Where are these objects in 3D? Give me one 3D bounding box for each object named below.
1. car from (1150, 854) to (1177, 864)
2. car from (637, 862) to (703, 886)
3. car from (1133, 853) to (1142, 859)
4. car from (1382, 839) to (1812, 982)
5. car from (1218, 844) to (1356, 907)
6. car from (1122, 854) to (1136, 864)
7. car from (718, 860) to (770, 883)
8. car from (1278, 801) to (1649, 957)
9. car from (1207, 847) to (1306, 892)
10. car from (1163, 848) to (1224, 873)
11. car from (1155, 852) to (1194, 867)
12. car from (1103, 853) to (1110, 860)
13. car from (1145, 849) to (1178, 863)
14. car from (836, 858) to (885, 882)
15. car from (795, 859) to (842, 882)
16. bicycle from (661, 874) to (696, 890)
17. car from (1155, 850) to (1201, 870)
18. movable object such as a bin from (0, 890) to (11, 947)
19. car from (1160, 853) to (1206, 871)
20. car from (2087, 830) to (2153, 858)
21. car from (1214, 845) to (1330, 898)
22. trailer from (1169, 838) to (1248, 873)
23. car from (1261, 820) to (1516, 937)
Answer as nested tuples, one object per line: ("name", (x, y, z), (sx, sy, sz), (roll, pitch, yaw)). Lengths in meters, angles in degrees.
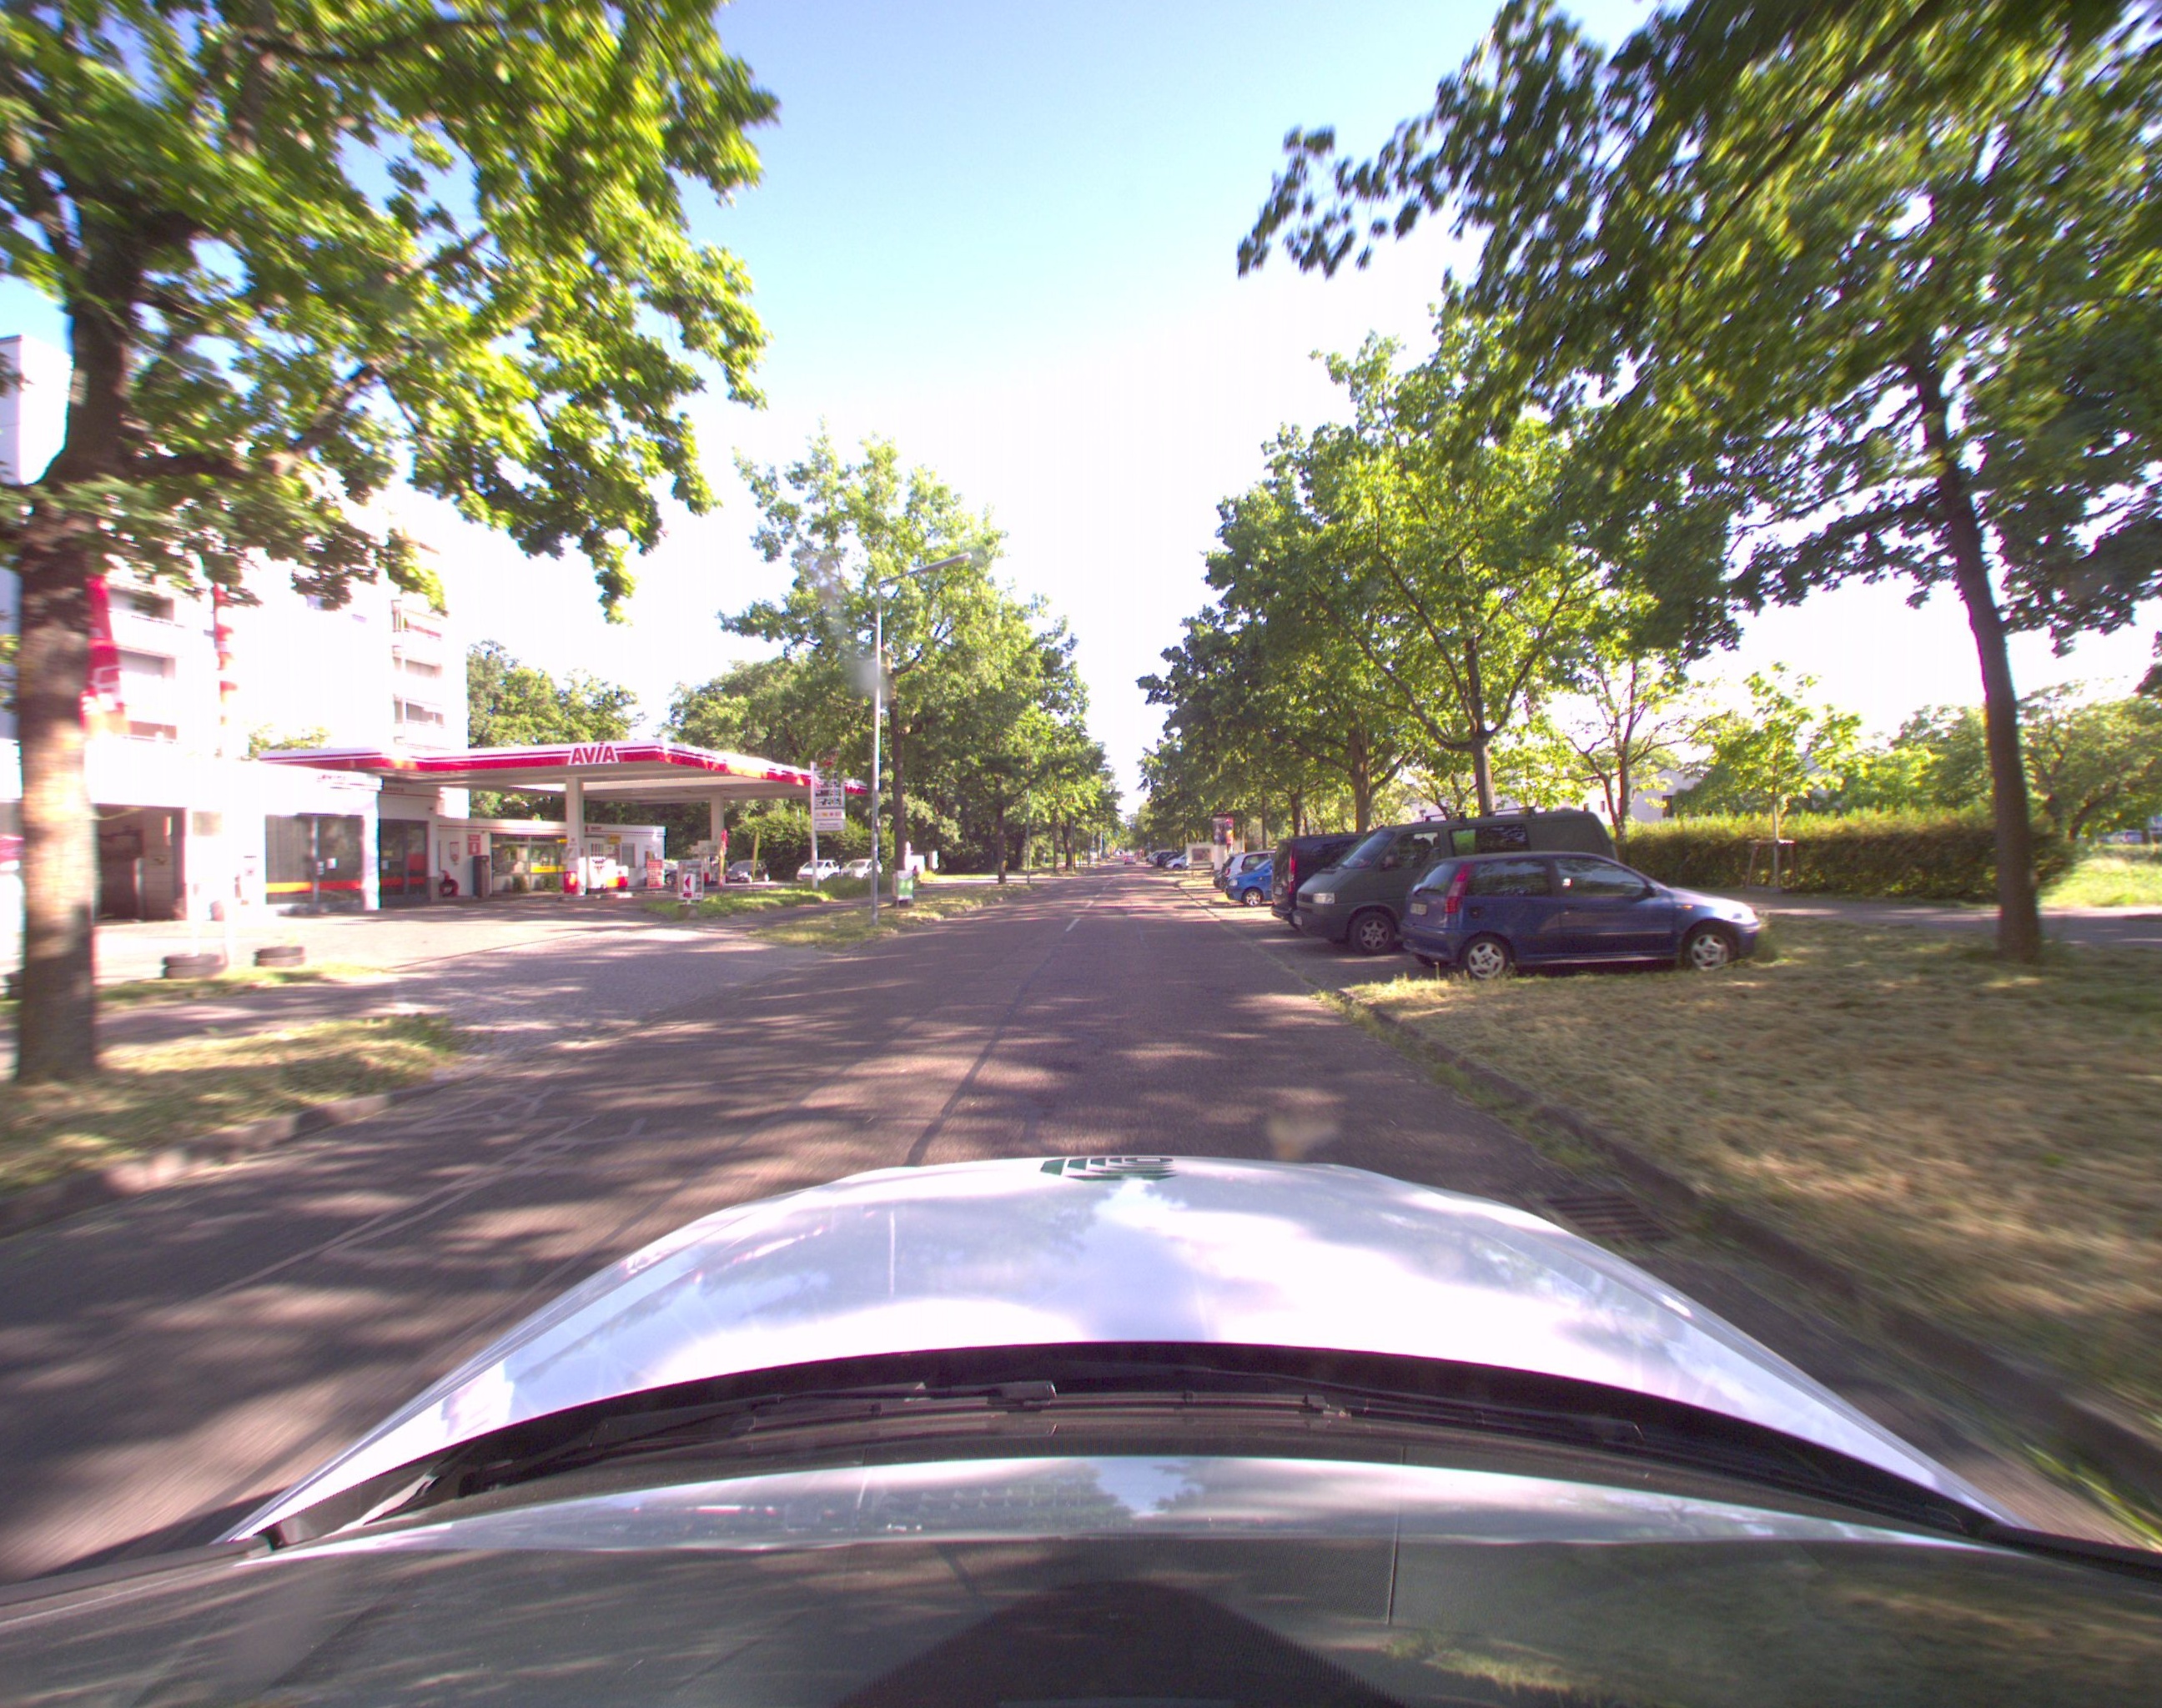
("car", (12.583, 0.713, 124.203), (3.968, 1.433, 1.903), (-2, 0, 5))
("car", (-24.820, 1.207, 49.210), (3.174, 1.400, 1.590), (0, 0, 11))
("car", (14.465, 0.499, 208.834), (1.985, 1.716, 4.003), (-1, 0, 3))
("car", (5.907, 0.623, 9.723), (3.972, 1.403, 1.741), (-2, 0, 2))
("car", (5.762, 0.589, 23.097), (3.504, 1.532, 1.667), (-3, -1, 5))
("car", (7.229, 0.785, 123.576), (1.986, 1.484, 4.002), (-1, 0, 2))
("car", (-21.145, 1.053, 51.218), (1.413, 1.367, 3.215), (0, 0, 11))
("car", (5.682, 0.363, 12.631), (4.783, 2.032, 1.945), (-2, 0, 2))
("car", (6.971, 0.605, 32.664), (3.569, 1.576, 1.858), (-3, -1, 2))
("car", (8.974, 0.492, 65.102), (4.621, 1.722, 1.990), (-3, 0, 4))
("car", (11.335, 0.679, 98.968), (4.650, 1.580, 1.919), (-3, 0, 3))
("car", (6.760, 0.619, 215.346), (1.985, 1.716, 4.003), (-1, 0, 3))
("car", (13.086, 0.355, 131.972), (5.168, 2.105, 2.083), (-2, 0, 1))
("car", (-13.847, 1.010, 51.376), (1.536, 1.422, 3.498), (0, 0, 11))
("car", (-16.547, 1.026, 51.387), (1.413, 1.367, 3.215), (0, 0, 11))
("bicycle", (-21.913, 1.499, 44.363), (0.612, 0.807, 1.788), (-1, 0, 18))
("car", (10.065, 0.613, 84.618), (4.510, 1.801, 1.938), (-3, 0, 3))
("movable object such as a bin", (-21.194, 1.257, 15.515), (0.566, 1.085, 0.769), (-1, 0, 4))
("car", (9.739, 0.734, 77.712), (4.226, 1.519, 2.080), (-3, 0, 4))
("car", (99.446, -0.922, 78.055), (2.317, 2.610, 5.501), (-1, -1, 34))
("car", (6.430, 0.583, 27.684), (3.566, 1.576, 1.788), (-3, -1, 5))
("trailer", (9.701, 0.144, 62.198), (5.747, 2.317, 1.688), (-3, 0, 5))
("car", (5.582, 0.439, 15.161), (3.995, 1.837, 1.799), (-3, -1, 0))
